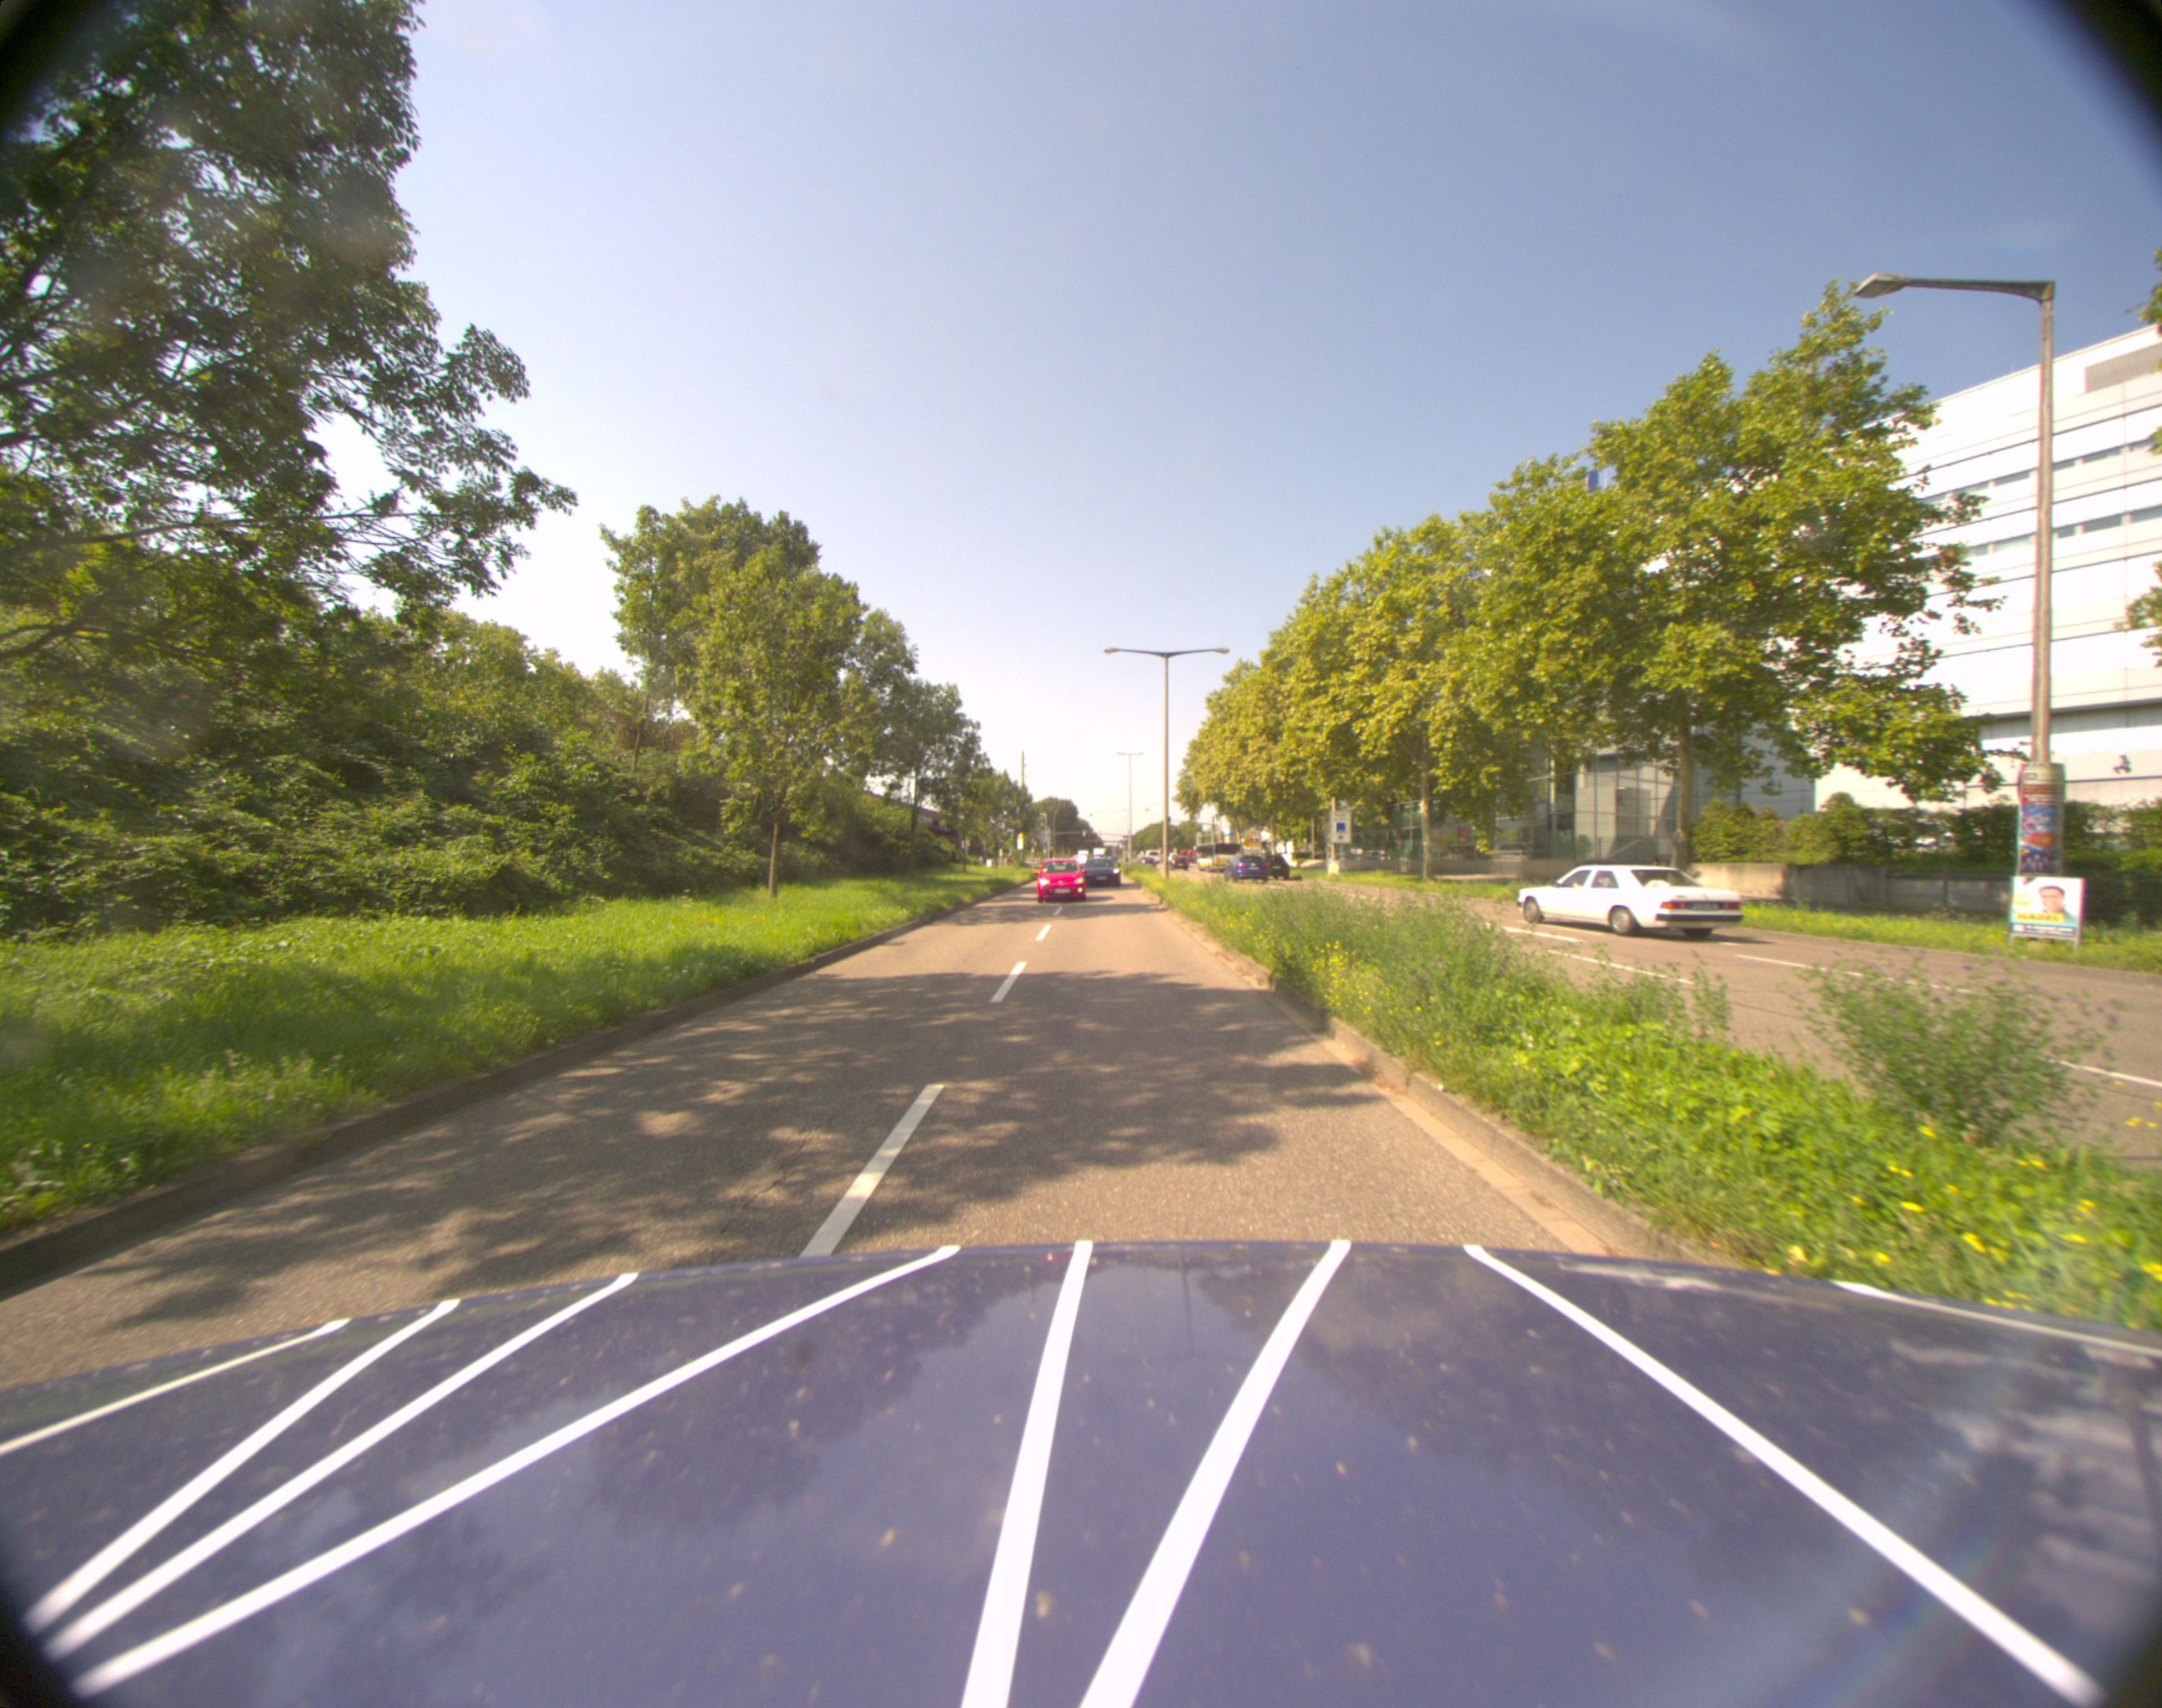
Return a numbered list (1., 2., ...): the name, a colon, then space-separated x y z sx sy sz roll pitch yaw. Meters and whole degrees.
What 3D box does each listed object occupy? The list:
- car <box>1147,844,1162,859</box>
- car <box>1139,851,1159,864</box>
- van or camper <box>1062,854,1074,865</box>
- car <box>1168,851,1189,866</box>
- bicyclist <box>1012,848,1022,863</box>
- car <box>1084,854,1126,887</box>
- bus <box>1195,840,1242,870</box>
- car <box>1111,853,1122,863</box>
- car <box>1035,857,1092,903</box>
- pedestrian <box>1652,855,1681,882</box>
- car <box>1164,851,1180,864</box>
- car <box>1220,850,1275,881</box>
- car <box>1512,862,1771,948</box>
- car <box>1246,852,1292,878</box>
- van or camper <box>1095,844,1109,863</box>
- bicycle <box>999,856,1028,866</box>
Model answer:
1. car: 11.068 -0.403 114.426 1.931 1.950 5.188 2 3 3
2. car: 7.725 0.393 86.799 1.850 1.481 4.643 1 0 1
3. van or camper: -2.310 1.043 138.141 1.850 1.765 4.177 -2 -2 2
4. car: 10.037 0.447 78.404 1.709 1.481 4.312 0 1 2
5. bicyclist: -7.250 0.194 86.087 0.971 1.648 0.711 0 0 -24
6. car: 1.134 0.822 37.772 1.643 1.458 3.553 -3 -1 -4
7. bus: 13.031 0.061 72.865 2.668 2.678 10.905 2 0 1
8. car: 6.902 0.824 146.864 1.904 1.603 5.199 -2 -2 3
9. car: -0.679 0.860 26.562 1.643 1.458 3.552 -2 0 -7
10. pedestrian: 24.808 0.631 32.181 0.737 1.103 0.562 -2 -2 -4
11. car: 14.101 0.550 117.955 1.932 1.884 3.975 2 0 0
12. car: 9.046 0.623 41.638 1.999 1.575 4.346 -1 0 0
13. car: 11.037 0.913 15.457 1.800 1.408 4.408 1 0 -4
14. car: 12.198 0.689 49.543 1.850 1.596 4.610 -1 0 0
15. van or camper: 4.080 -0.081 146.520 2.247 3.341 6.855 -2 -2 3
16. bicycle: -7.628 0.805 85.924 2.981 1.043 1.233 0 -1 -24
